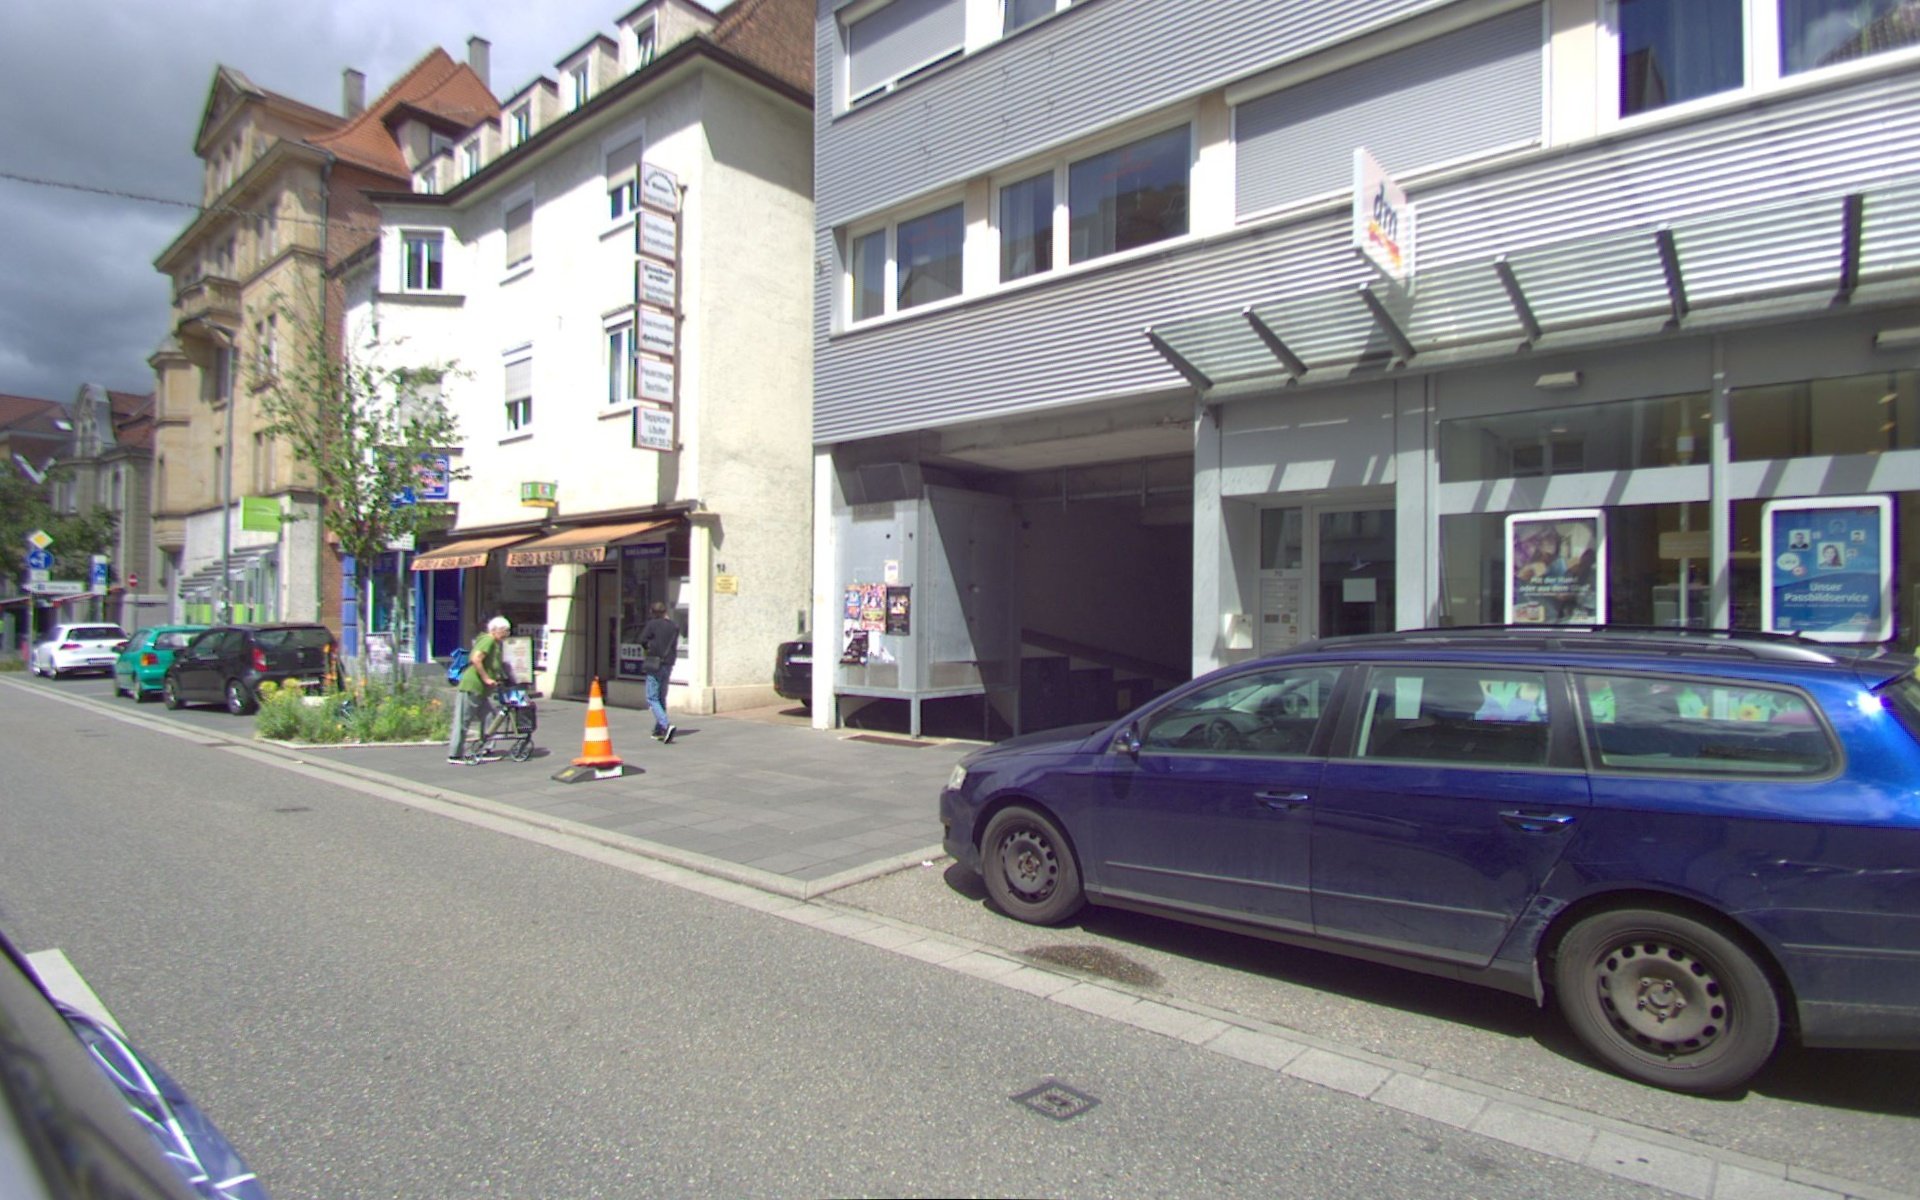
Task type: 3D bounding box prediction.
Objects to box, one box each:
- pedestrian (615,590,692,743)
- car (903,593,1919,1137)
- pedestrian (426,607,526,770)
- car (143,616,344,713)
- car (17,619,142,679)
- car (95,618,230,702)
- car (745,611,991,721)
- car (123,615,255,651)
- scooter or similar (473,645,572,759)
[{"bbox_3d":[-3.669,0.765,12.115,0.728,1.770,0.543,0,0,38],"label":"pedestrian"},{"bbox_3d":[2.038,0.765,4.642,4.710,1.524,1.771,-1,0,42],"label":"car"},{"bbox_3d":[-5.107,0.898,10.685,0.650,1.630,0.725,0,0,36],"label":"pedestrian"},{"bbox_3d":[-12.208,1.029,17.197,3.546,1.457,1.584,-1,0,33],"label":"car"},{"bbox_3d":[-23.889,1.269,27.417,4.031,1.408,1.828,0,0,38],"label":"car"},{"bbox_3d":[-15.848,1.117,20.055,3.669,1.425,1.568,0,0,43],"label":"car"},{"bbox_3d":[-1.328,0.922,15.854,1.655,1.420,3.782,0,0,40],"label":"car"},{"bbox_3d":[-34.701,1.457,45.684,1.985,1.391,4.359,-1,1,20],"label":"car"},{"bbox_3d":[-4.755,1.083,11.020,0.629,1.134,0.774,0,0,36],"label":"scooter or similar"}]
